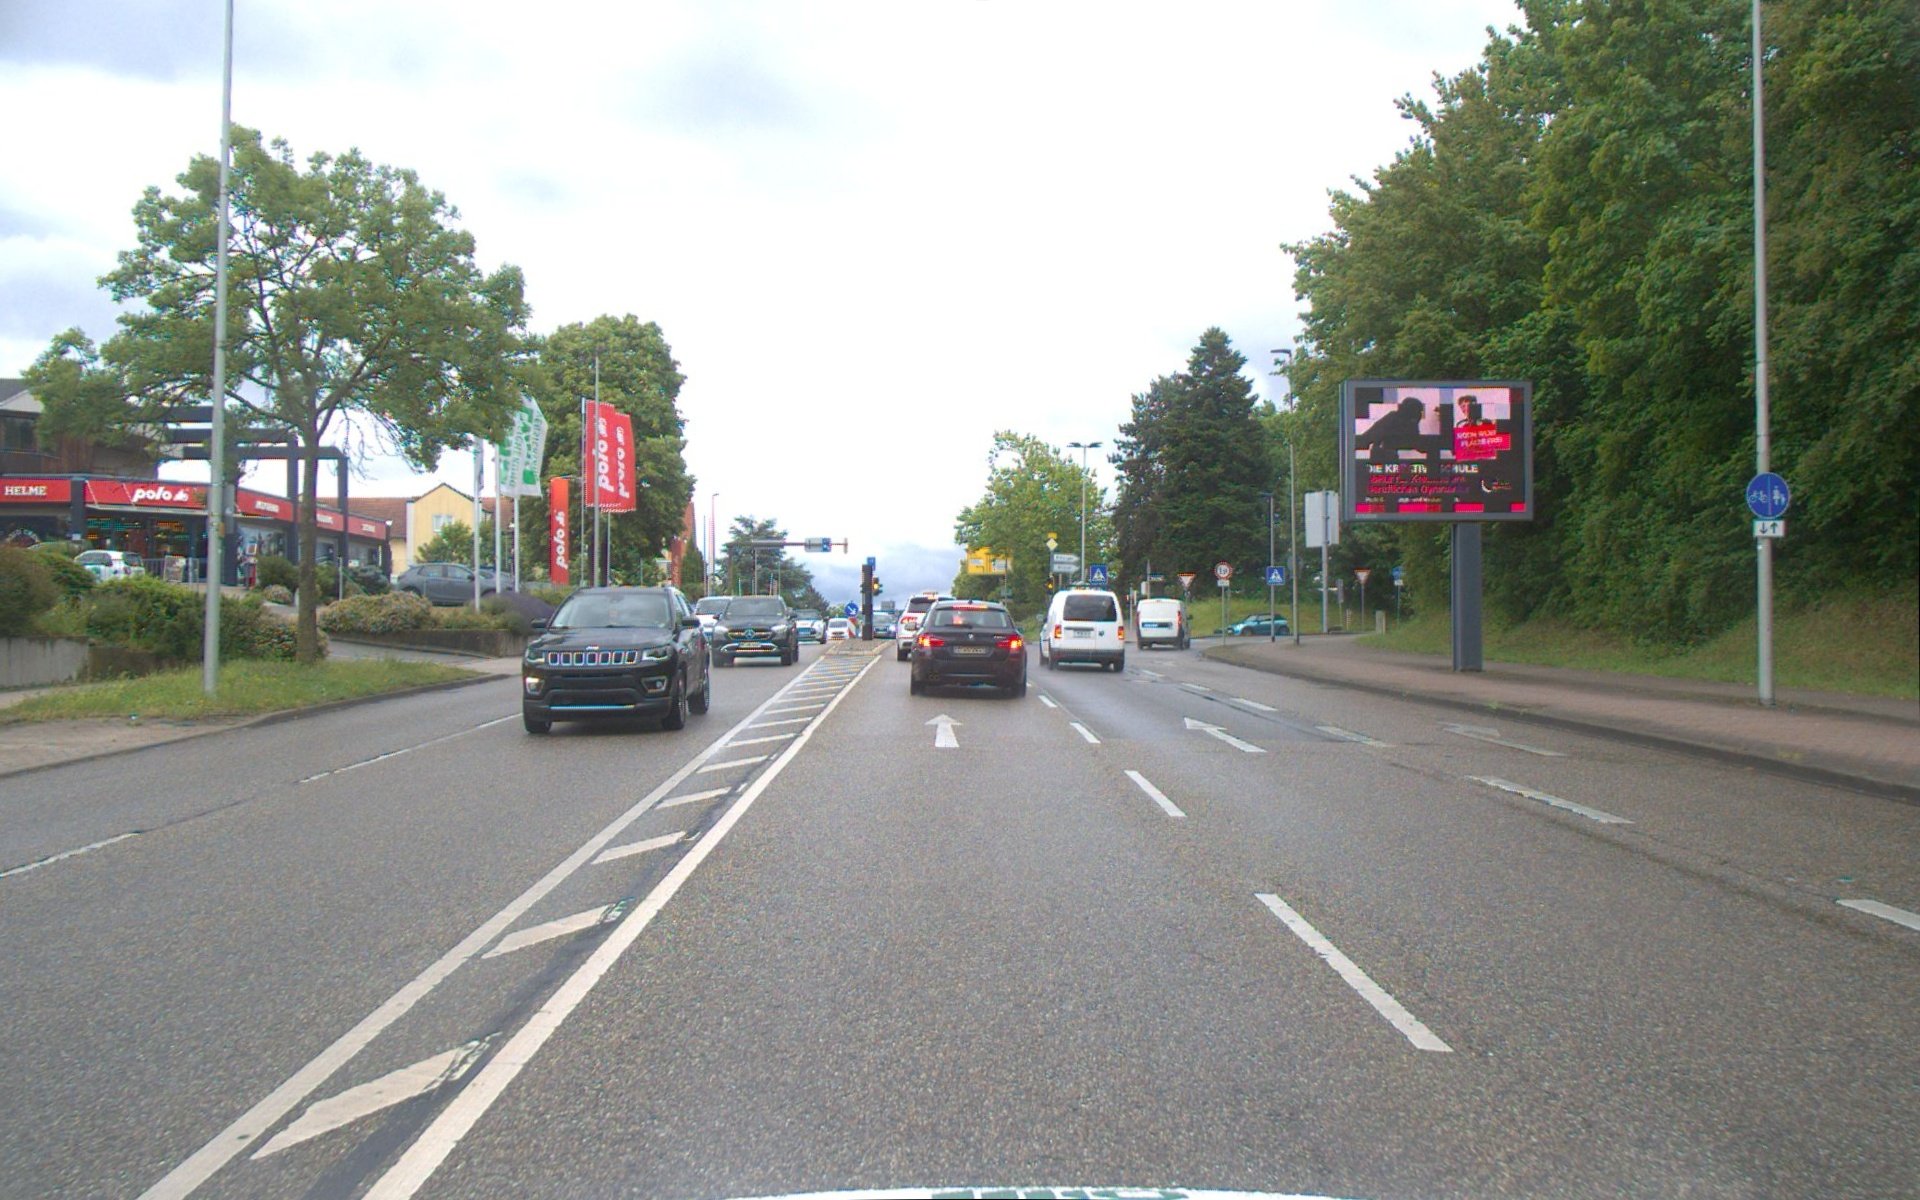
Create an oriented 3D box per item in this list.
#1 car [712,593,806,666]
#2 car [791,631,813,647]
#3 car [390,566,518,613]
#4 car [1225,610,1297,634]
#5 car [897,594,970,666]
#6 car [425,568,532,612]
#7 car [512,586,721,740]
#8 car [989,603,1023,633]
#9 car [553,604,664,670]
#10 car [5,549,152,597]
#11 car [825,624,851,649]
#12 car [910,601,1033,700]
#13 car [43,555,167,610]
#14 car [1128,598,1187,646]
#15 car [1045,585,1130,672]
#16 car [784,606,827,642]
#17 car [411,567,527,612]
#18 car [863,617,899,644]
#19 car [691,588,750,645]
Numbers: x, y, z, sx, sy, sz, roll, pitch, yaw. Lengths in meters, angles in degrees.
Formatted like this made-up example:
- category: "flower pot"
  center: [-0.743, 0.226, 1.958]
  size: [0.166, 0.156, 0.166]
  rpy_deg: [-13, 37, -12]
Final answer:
- category: "car"
  center: [-4.763, 0.676, 39.721]
  size: [1.786, 1.635, 4.282]
  rpy_deg: [-1, 0, -2]
- category: "car"
  center: [-14.115, 3.488, 147.983]
  size: [1.634, 1.406, 4.070]
  rpy_deg: [0, -1, -2]
- category: "car"
  center: [-16.391, -0.335, 53.712]
  size: [3.755, 1.508, 1.738]
  rpy_deg: [0, 0, -9]
- category: "car"
  center: [17.800, 1.280, 97.895]
  size: [3.928, 1.316, 1.600]
  rpy_deg: [-2, 0, -20]
- category: "car"
  center: [-0.642, 0.746, 42.733]
  size: [1.692, 1.741, 3.383]
  rpy_deg: [1, 1, 2]
- category: "car"
  center: [-17.047, -0.351, 58.628]
  size: [3.346, 1.536, 1.582]
  rpy_deg: [0, -1, -2]
- category: "car"
  center: [-3.999, 0.660, 19.900]
  size: [1.759, 1.611, 4.196]
  rpy_deg: [-1, 1, -2]
- category: "car"
  center: [2.230, 0.861, 81.066]
  size: [1.567, 1.396, 3.680]
  rpy_deg: [-1, 1, 0]
- category: "car"
  center: [-8.350, 0.851, 39.664]
  size: [1.756, 1.426, 4.299]
  rpy_deg: [-1, 0, -1]
- category: "car"
  center: [-28.390, -0.864, 53.372]
  size: [3.753, 1.508, 1.872]
  rpy_deg: [0, 0, -6]
- category: "car"
  center: [-9.494, 2.822, 128.630]
  size: [1.820, 1.855, 4.576]
  rpy_deg: [-2, -1, -3]
- category: "car"
  center: [0.210, 0.769, 26.739]
  size: [1.816, 1.444, 3.957]
  rpy_deg: [1, 0, 1]
- category: "car"
  center: [-25.526, -0.479, 49.528]
  size: [1.640, 1.539, 4.002]
  rpy_deg: [-2, 0, -1]
- category: "car"
  center: [7.425, 0.796, 62.485]
  size: [1.777, 1.738, 3.946]
  rpy_deg: [0, 1, 1]
- category: "car"
  center: [2.937, 0.649, 38.868]
  size: [1.705, 1.902, 3.946]
  rpy_deg: [1, -1, 1]
- category: "car"
  center: [-6.401, 0.976, 68.757]
  size: [1.634, 1.422, 3.997]
  rpy_deg: [-2, 0, -4]
- category: "car"
  center: [-16.682, -0.343, 56.341]
  size: [3.579, 1.508, 1.738]
  rpy_deg: [0, 0, -9]
- category: "car"
  center: [-4.358, 1.685, 91.087]
  size: [1.857, 1.481, 4.093]
  rpy_deg: [0, -1, -5]
- category: "car"
  center: [-9.020, 0.625, 62.588]
  size: [1.760, 2.017, 4.894]
  rpy_deg: [-2, 0, -4]
